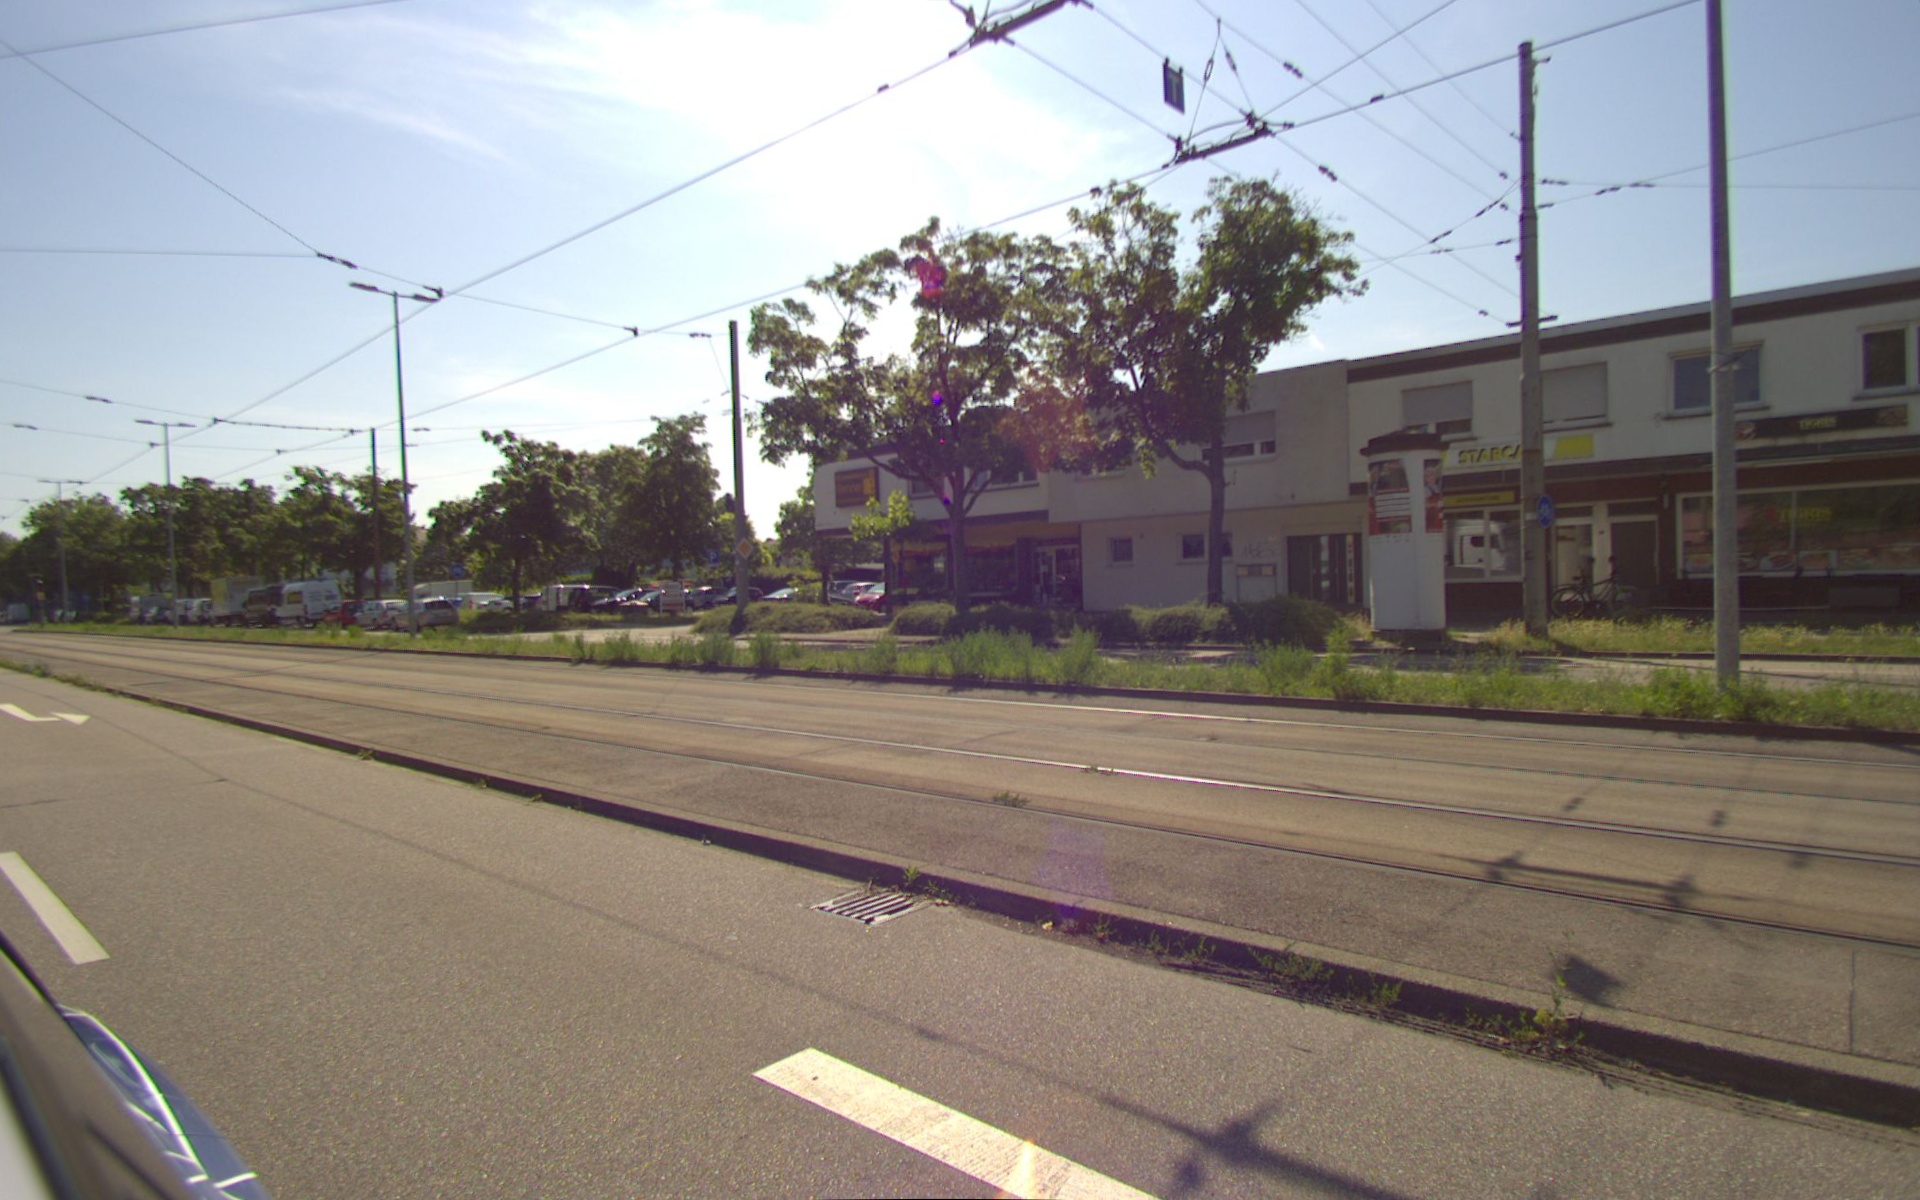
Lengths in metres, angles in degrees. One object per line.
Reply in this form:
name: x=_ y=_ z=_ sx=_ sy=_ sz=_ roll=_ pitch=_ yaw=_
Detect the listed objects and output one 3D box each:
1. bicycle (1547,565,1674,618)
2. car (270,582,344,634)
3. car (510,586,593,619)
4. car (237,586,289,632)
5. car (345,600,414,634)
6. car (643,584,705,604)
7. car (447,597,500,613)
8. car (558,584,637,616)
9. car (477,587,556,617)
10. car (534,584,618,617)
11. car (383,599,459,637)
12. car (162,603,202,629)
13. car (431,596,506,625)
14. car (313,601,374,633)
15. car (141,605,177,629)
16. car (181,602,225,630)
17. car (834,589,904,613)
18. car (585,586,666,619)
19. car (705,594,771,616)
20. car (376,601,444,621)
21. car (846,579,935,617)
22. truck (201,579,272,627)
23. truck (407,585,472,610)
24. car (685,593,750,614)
bicycle: x=14.688 y=-0.168 z=22.896 sx=2.333 sy=1.161 sz=0.779 roll=-1 pitch=-1 yaw=42
car: x=-37.248 y=0.470 z=57.658 sx=5.201 sy=2.673 sz=2.036 roll=-1 pitch=4 yaw=41
car: x=-24.035 y=0.130 z=59.673 sx=1.988 sy=1.751 sz=4.068 roll=-1 pitch=1 yaw=38
car: x=-42.377 y=0.550 z=61.508 sx=4.005 sy=2.643 sz=1.483 roll=-1 pitch=4 yaw=41
car: x=-29.305 y=0.863 z=51.034 sx=4.255 sy=1.544 sz=1.654 roll=-1 pitch=4 yaw=41
car: x=-21.089 y=-0.482 z=74.709 sx=1.674 sy=1.345 sz=4.201 roll=-1 pitch=1 yaw=39
car: x=-45.983 y=0.426 z=95.690 sx=1.676 sy=1.345 sz=4.198 roll=-1 pitch=1 yaw=41
car: x=-20.204 y=-0.007 z=56.446 sx=1.676 sy=1.646 sz=3.761 roll=-1 pitch=1 yaw=42
car: x=-28.021 y=0.122 z=64.005 sx=1.988 sy=1.751 sz=4.068 roll=-1 pitch=1 yaw=38
car: x=-22.060 y=-0.005 z=58.191 sx=1.988 sy=1.751 sz=4.068 roll=-1 pitch=1 yaw=38
car: x=-25.242 y=0.835 z=47.342 sx=4.255 sy=1.544 sz=1.654 roll=-1 pitch=4 yaw=41
car: x=-59.809 y=1.220 z=77.751 sx=4.056 sy=1.859 sz=1.484 roll=-1 pitch=4 yaw=40
car: x=-33.295 y=0.706 z=68.425 sx=5.739 sy=1.825 sz=2.560 roll=-1 pitch=1 yaw=42
car: x=-33.153 y=0.929 z=54.373 sx=3.791 sy=1.544 sz=1.654 roll=-1 pitch=4 yaw=41
car: x=-64.402 y=1.382 z=81.373 sx=3.685 sy=1.799 sz=1.484 roll=-1 pitch=4 yaw=40
car: x=-54.740 y=1.153 z=73.130 sx=4.631 sy=1.817 sz=1.483 roll=-1 pitch=4 yaw=41
car: x=-5.510 y=0.039 z=61.717 sx=1.676 sy=1.345 sz=4.197 roll=-1 pitch=1 yaw=42
car: x=-17.958 y=0.122 z=54.436 sx=1.676 sy=1.646 sz=3.761 roll=-1 pitch=1 yaw=42
car: x=-15.264 y=0.324 z=69.745 sx=1.676 sy=1.345 sz=4.197 roll=-1 pitch=1 yaw=42
car: x=-42.063 y=0.810 z=77.441 sx=1.676 sy=1.345 sz=4.198 roll=-1 pitch=1 yaw=41
car: x=-3.242 y=-0.119 z=47.988 sx=1.676 sy=1.616 sz=4.197 roll=-1 pitch=1 yaw=42
truck: x=-48.311 y=0.210 z=67.557 sx=5.902 sy=2.956 sz=2.476 roll=-1 pitch=4 yaw=42
truck: x=-52.979 y=-0.262 z=103.112 sx=1.988 sy=2.398 sz=5.584 roll=-1 pitch=1 yaw=38
car: x=-17.093 y=0.245 z=71.447 sx=1.676 sy=1.345 sz=4.197 roll=-1 pitch=1 yaw=42
